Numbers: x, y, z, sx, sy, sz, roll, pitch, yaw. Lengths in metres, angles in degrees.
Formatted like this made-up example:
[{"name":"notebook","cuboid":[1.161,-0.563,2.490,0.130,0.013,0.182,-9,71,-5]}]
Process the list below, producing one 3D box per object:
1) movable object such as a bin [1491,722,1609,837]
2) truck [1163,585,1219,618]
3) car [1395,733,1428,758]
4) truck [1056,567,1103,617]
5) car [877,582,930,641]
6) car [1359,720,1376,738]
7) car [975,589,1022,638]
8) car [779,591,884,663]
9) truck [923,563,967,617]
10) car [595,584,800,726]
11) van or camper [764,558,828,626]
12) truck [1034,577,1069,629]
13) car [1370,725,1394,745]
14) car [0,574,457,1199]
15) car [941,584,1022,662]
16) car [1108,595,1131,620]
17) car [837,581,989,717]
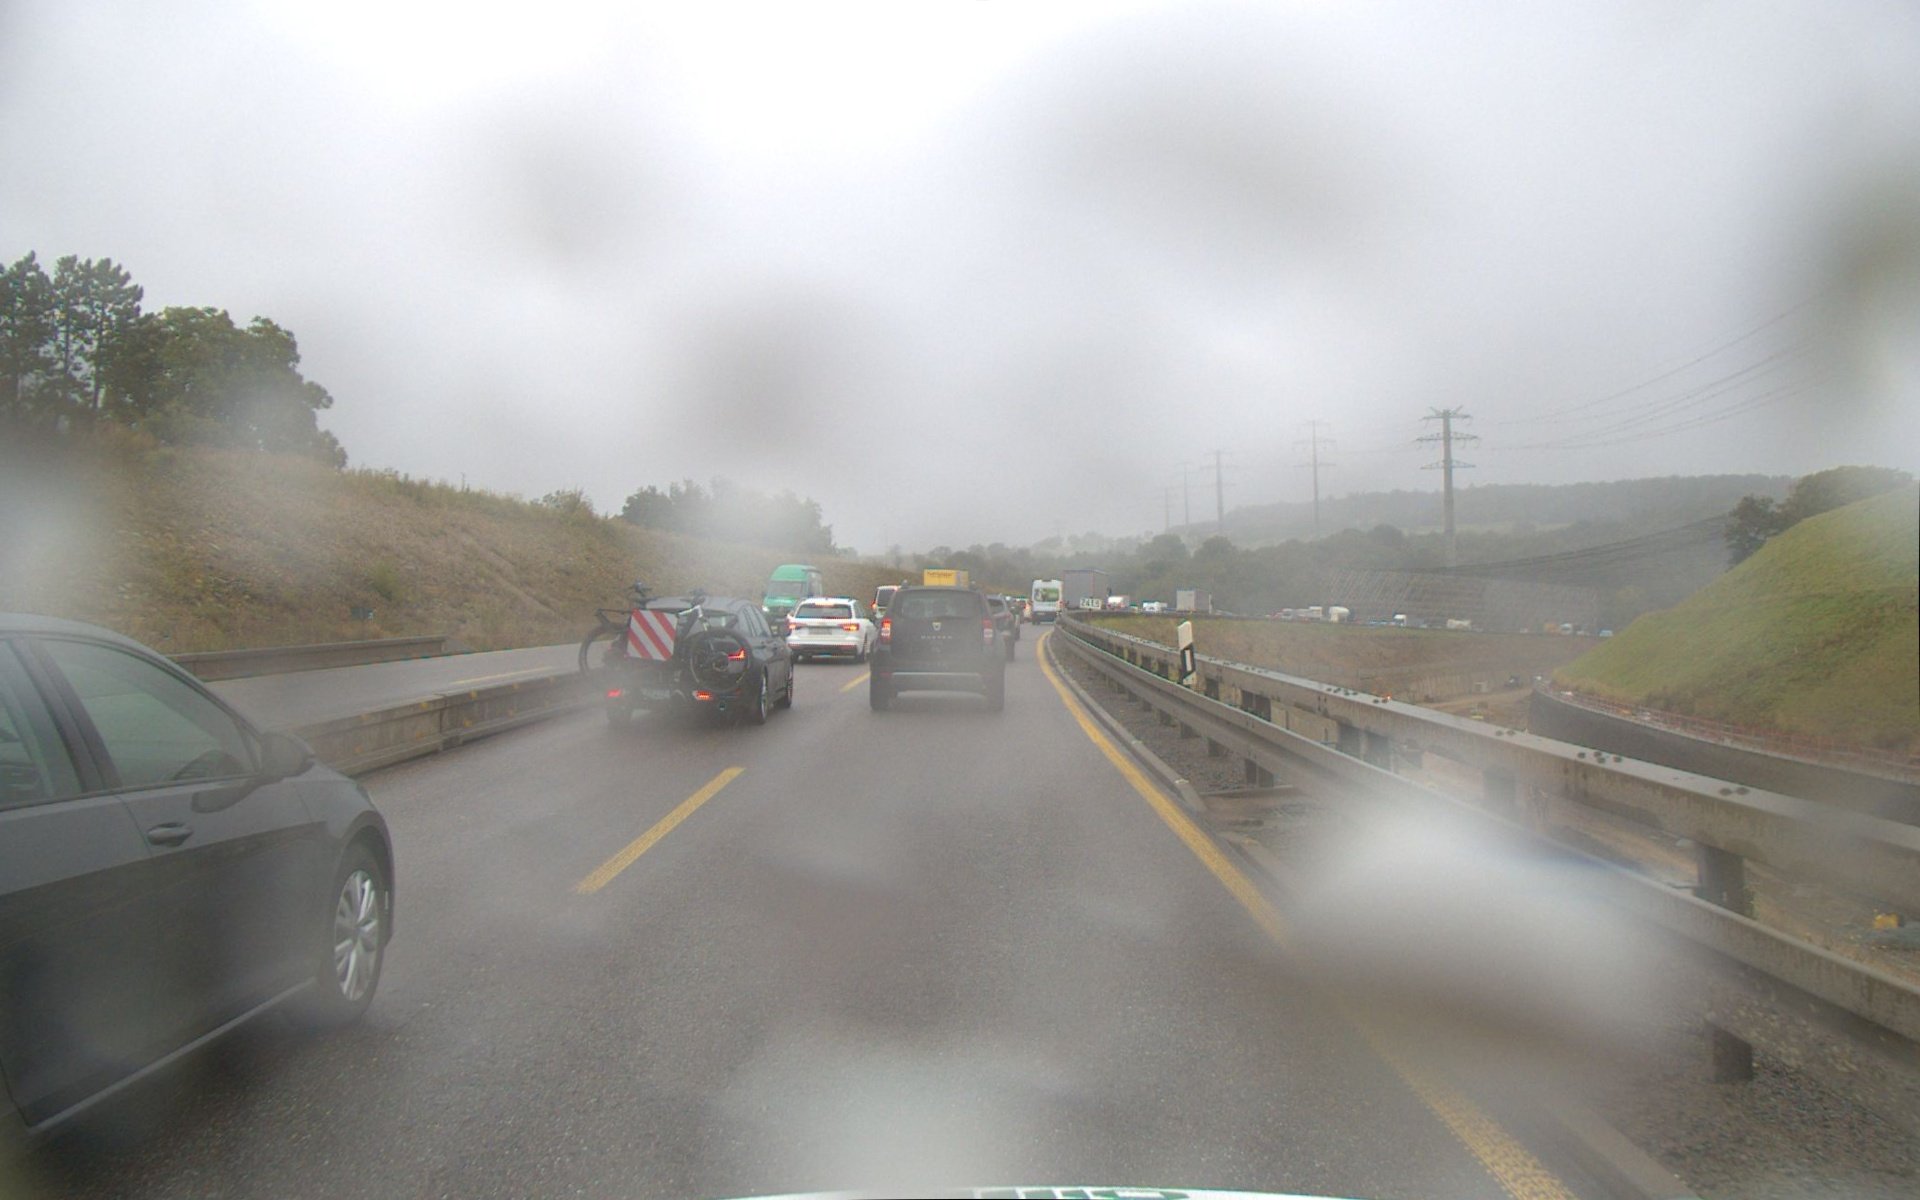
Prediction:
[{"name":"movable object such as a bin","cuboid":[23.634,7.138,66.457,3.148,3.934,4.123,3,1,1]},{"name":"truck","cuboid":[31.781,0.296,227.172,4.619,4.222,15.687,2,0,19]},{"name":"car","cuboid":[44.037,14.180,161.323,2.315,2.049,4.002,2,0,4]},{"name":"truck","cuboid":[9.752,-0.614,134.168,3.132,3.827,8.516,2,0,8]},{"name":"car","cuboid":[-1.877,0.371,56.206,1.626,1.912,4.019,2,0,0]},{"name":"car","cuboid":[54.915,17.370,222.723,1.951,2.049,4.002,2,0,17]},{"name":"car","cuboid":[1.370,0.470,60.076,1.499,1.669,4.012,2,0,-1]},{"name":"car","cuboid":[-2.873,0.570,37.888,1.829,1.486,4.550,2,0,2]},{"name":"truck","cuboid":[-1.140,-0.757,130.468,2.710,4.066,8.427,1,0,5]},{"name":"car","cuboid":[-2.995,0.592,19.640,1.791,1.502,3.776,1,0,0]},{"name":"van or camper","cuboid":[-7.282,-0.346,73.984,2.057,2.867,5.944,2,0,1]},{"name":"truck","cuboid":[5.879,0.182,106.921,2.104,3.221,6.461,2,0,3]},{"name":"car","cuboid":[45.635,14.567,178.960,1.951,1.847,4.003,1,0,6]},{"name":"car","cuboid":[-2.711,0.726,4.227,1.581,1.532,4.367,-1,0,-1]},{"name":"car","cuboid":[0.558,0.528,40.317,1.829,1.738,4.001,1,0,2]},{"name":"car","cuboid":[13.220,0.612,137.136,1.737,1.949,4.003,2,0,7]},{"name":"car","cuboid":[-0.561,0.615,22.569,1.767,1.674,3.778,1,0,3]}]
